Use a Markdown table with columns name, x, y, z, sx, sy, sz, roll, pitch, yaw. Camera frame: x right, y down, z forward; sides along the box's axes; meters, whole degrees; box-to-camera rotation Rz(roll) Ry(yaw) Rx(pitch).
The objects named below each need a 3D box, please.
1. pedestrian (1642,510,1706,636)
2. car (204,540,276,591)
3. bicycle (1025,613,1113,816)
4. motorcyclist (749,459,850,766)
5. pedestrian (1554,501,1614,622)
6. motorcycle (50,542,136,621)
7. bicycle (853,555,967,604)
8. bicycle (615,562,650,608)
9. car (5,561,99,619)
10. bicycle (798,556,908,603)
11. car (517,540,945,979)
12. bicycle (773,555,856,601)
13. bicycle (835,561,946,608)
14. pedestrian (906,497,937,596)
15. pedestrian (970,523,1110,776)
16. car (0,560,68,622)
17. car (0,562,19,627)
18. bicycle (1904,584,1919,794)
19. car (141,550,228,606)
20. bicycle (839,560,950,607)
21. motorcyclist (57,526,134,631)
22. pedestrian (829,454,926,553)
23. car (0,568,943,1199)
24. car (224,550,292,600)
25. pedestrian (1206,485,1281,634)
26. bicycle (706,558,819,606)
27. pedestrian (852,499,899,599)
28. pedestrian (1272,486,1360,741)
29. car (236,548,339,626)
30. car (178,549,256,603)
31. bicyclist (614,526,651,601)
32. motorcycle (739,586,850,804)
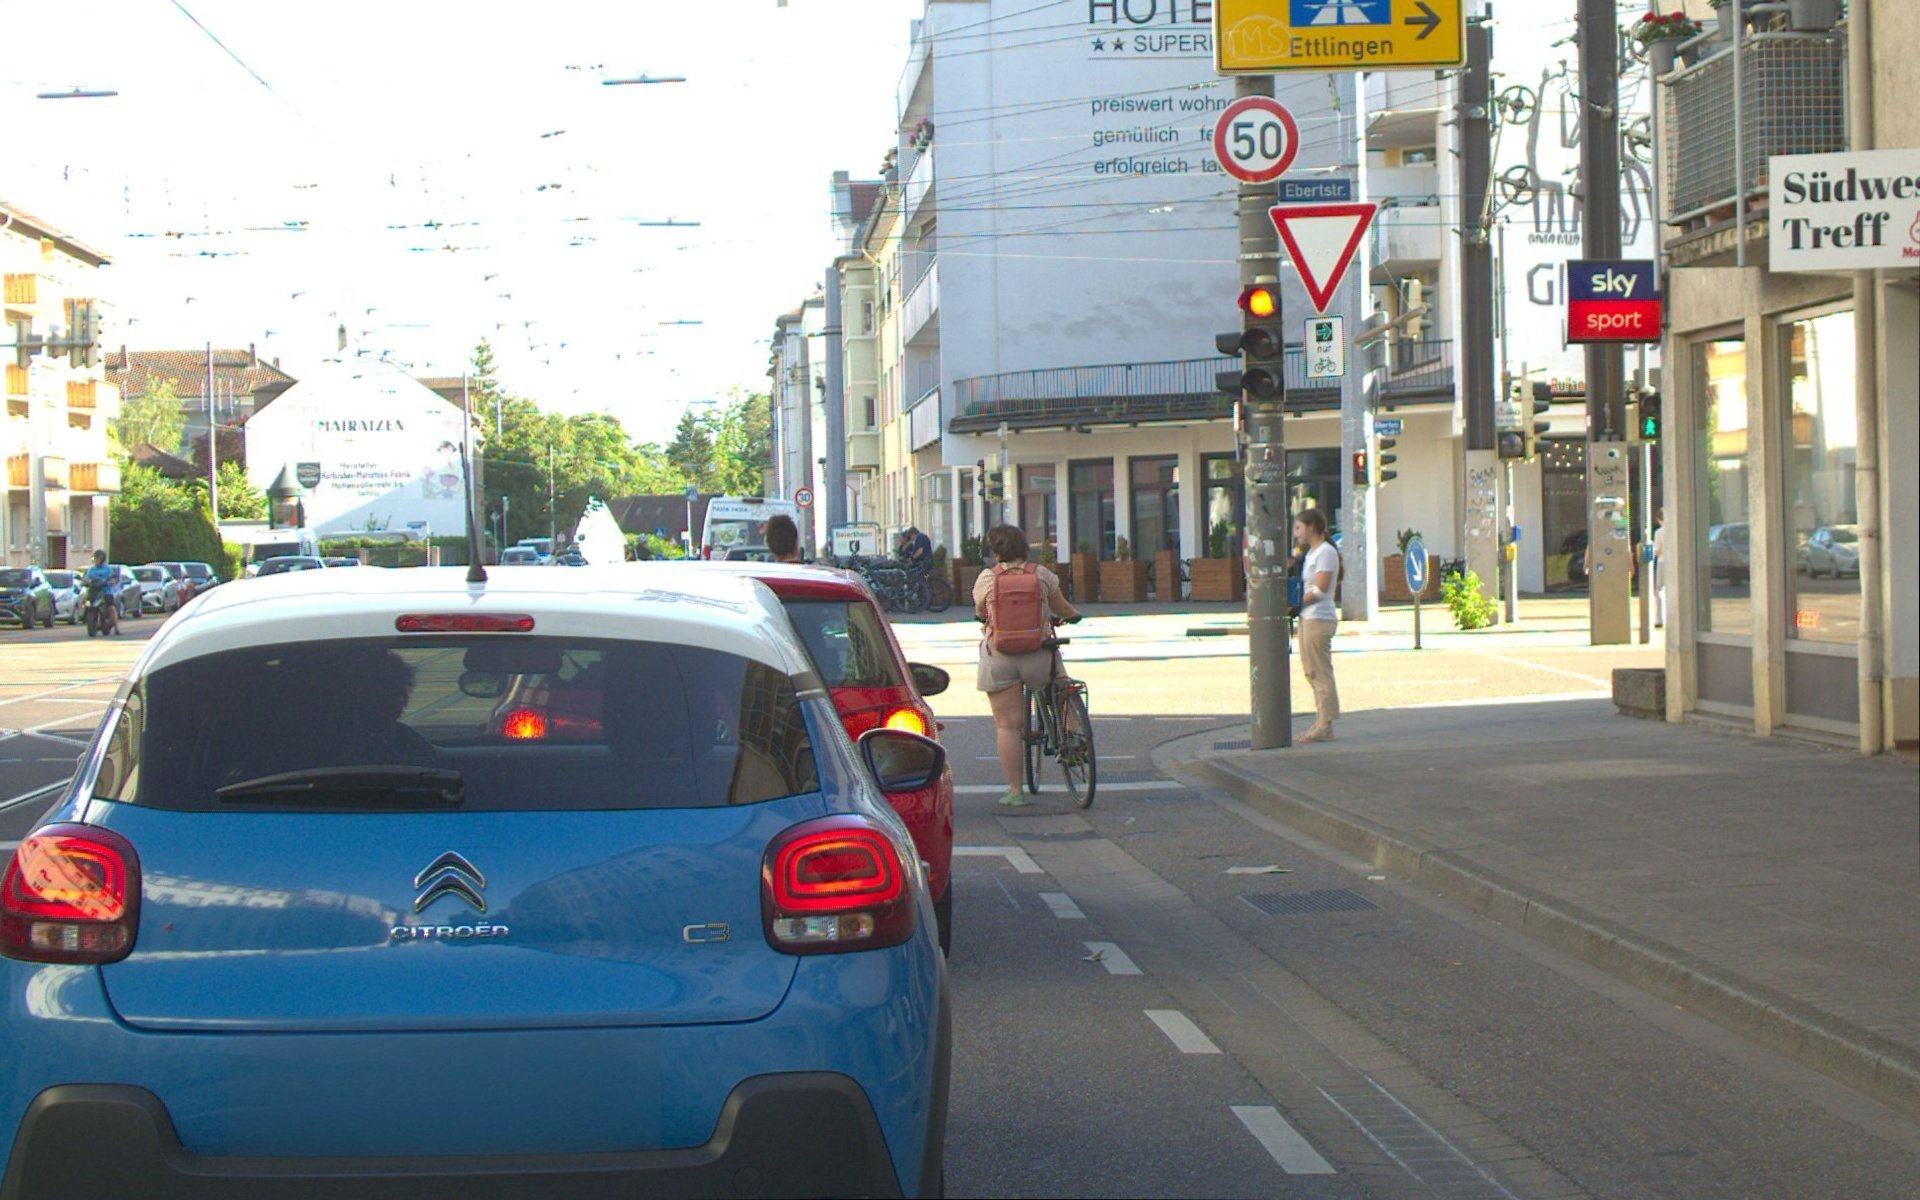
| name | x | y | z | sx | sy | sz | roll | pitch | yaw |
| --- | --- | --- | --- | --- | --- | --- | --- | --- | --- |
| pedestrian | 9.471 | -0.360 | 45.614 | 0.752 | 1.652 | 0.883 | 1 | 0 | 16 |
| car | -24.403 | -1.167 | 116.677 | 1.833 | 1.681 | 4.001 | 1 | 1 | -4 |
| bicycle | 0.638 | 0.653 | 20.533 | 0.427 | 1.119 | 1.998 | 1 | 1 | -1 |
| motorcyclist | -0.908 | 0.066 | 19.605 | 0.526 | 1.710 | 0.717 | 1 | 0 | -1 |
| pedestrian | 8.370 | -0.515 | 46.086 | 0.736 | 1.595 | 0.748 | 1 | 0 | 13 |
| motorcycle | -16.823 | -0.376 | 66.785 | 0.923 | 1.481 | 3.726 | 1 | 1 | -3 |
| bicycle | -0.961 | -0.395 | 65.918 | 2.132 | 0.898 | 0.367 | 1 | 0 | -9 |
| bicycle | -6.532 | -0.311 | 68.503 | 0.348 | 0.900 | 1.860 | 1 | 1 | -16 |
| car | -24.315 | -0.276 | 92.138 | 1.732 | 1.493 | 4.001 | 1 | 1 | -5 |
| bicycle | -2.131 | -0.410 | 68.342 | 2.132 | 0.898 | 0.367 | 1 | 0 | -9 |
| car | -0.795 | 0.532 | 13.163 | 1.424 | 1.462 | 2.924 | -1 | 0 | -1 |
| bicycle | -2.938 | -0.444 | 69.414 | 1.785 | 0.898 | 0.366 | 1 | 1 | 34 |
| bicycle | -1.366 | -0.307 | 67.526 | 2.132 | 0.898 | 0.367 | 1 | 0 | -9 |
| pedestrian | -0.794 | -1.090 | 70.294 | 0.577 | 2.007 | 0.626 | 1 | 0 | -3 |
| pedestrian | 0.464 | 0.282 | 20.243 | 0.777 | 1.455 | 0.682 | 1 | 0 | -1 |
| car | -23.618 | -0.237 | 86.043 | 1.785 | 1.493 | 4.001 | 1 | 1 | -4 |
| car | -23.161 | -0.132 | 79.447 | 1.787 | 1.506 | 4.150 | 1 | 1 | -2 |
| bicycle | 4.853 | 0.435 | 15.782 | 0.542 | 0.995 | 1.706 | 1 | 1 | -1 |
| car | -23.870 | -0.689 | 105.937 | 1.983 | 1.681 | 4.001 | 1 | 1 | -3 |
| bicycle | -1.279 | -0.325 | 67.097 | 2.132 | 0.898 | 0.367 | 1 | 0 | -9 |
| motorcyclist | -16.874 | -0.432 | 67.110 | 1.185 | 2.007 | 1.276 | -1 | 1 | -3 |
| pedestrian | -1.744 | -2.037 | 73.516 | 1.993 | 2.007 | 4.000 | 1 | 1 | -1 |
| car | -0.883 | 0.665 | 7.164 | 1.654 | 1.439 | 3.523 | 1 | 1 | -1 |
| car | -24.750 | -0.890 | 121.295 | 1.846 | 1.681 | 3.875 | 1 | 1 | -4 |
| pedestrian | 3.867 | -0.549 | 46.905 | 0.926 | 2.007 | 0.759 | 1 | 0 | -1 |
| bicycle | -3.806 | -0.351 | 66.218 | 2.132 | 0.898 | 0.367 | 1 | 0 | -9 |
| pedestrian | -1.706 | -1.024 | 69.187 | 0.630 | 2.007 | 0.724 | 0 | 0 | -36 |
| pedestrian | 2.521 | 0.092 | 24.367 | 0.517 | 1.777 | 0.595 | 1 | 0 | -2 |
| car | -14.923 | -0.305 | 76.412 | 1.774 | 1.660 | 3.857 | 1 | 1 | -4 |
| car | -24.023 | -0.779 | 111.292 | 1.882 | 1.681 | 4.001 | 1 | 1 | -4 |
| bicyclist | -6.525 | -0.723 | 68.493 | 0.561 | 1.472 | 0.748 | 1 | 0 | -19 |
| motorcycle | -0.916 | 0.501 | 19.422 | 0.526 | 1.136 | 2.290 | 1 | 1 | -1 |
